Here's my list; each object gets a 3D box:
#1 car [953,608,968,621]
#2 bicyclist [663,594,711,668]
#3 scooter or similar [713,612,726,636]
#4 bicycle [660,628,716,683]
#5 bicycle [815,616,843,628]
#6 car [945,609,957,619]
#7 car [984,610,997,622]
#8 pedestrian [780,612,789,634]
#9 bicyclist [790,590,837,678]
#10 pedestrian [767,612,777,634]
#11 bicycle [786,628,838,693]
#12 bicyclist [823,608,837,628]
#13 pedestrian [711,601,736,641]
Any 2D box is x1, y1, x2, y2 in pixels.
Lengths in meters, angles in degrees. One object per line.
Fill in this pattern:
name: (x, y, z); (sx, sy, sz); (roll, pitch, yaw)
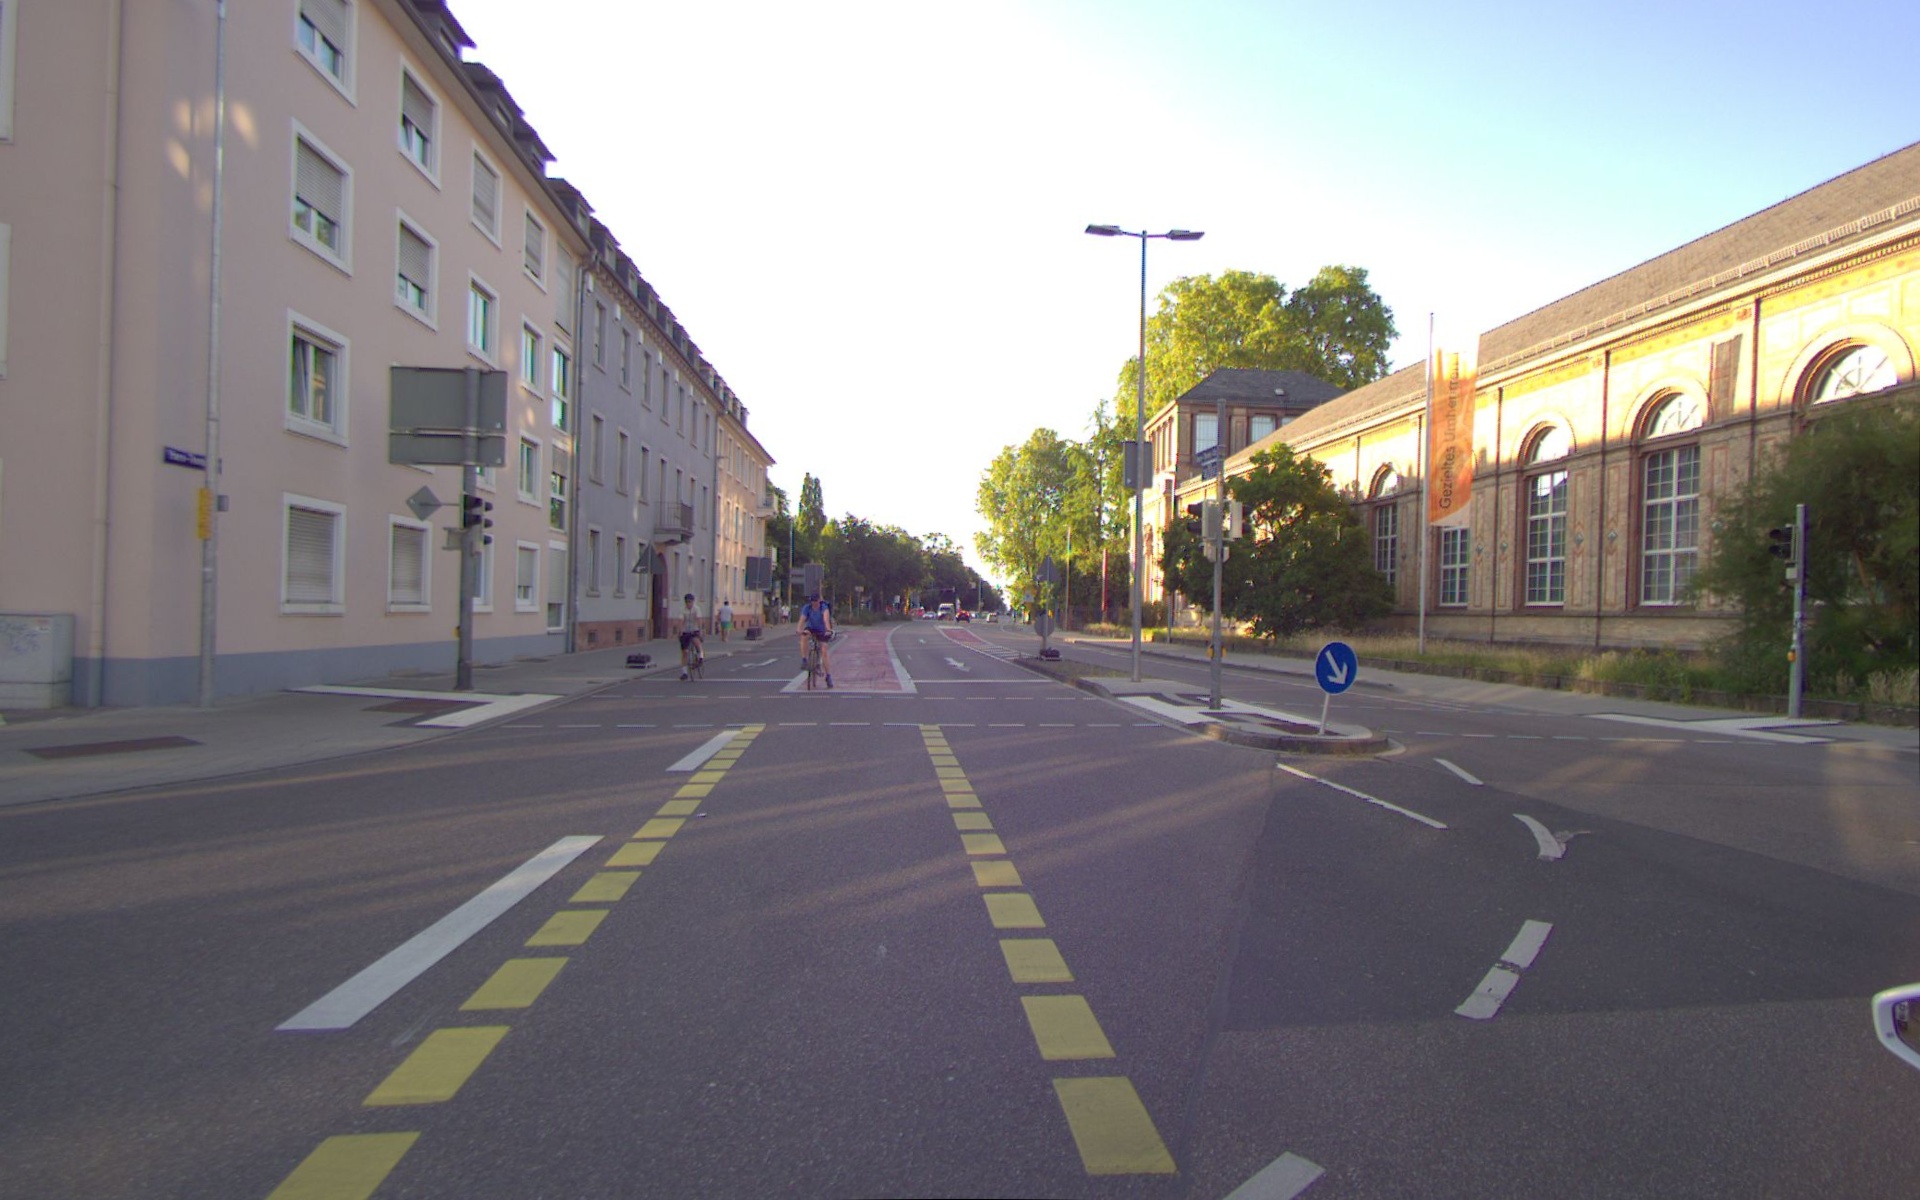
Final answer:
car: (0.033, 2.083, 143.991); (1.961, 1.743, 3.999); (1, -1, -2)
bicyclist: (-5.522, 0.616, 20.358); (0.699, 1.459, 0.894); (1, 0, -2)
scooter or similar: (-11.999, 1.197, 50.116); (0.389, 1.143, 0.861); (1, 0, 1)
bicycle: (-5.541, 1.117, 20.524); (0.709, 1.024, 1.688); (1, -1, -2)
bicycle: (-10.726, 1.782, 82.440); (2.173, 0.941, 0.765); (2, -1, -35)
car: (-1.654, 2.441, 181.165); (1.960, 1.743, 4.000); (1, -1, 0)
car: (4.605, 2.352, 152.218); (1.960, 1.743, 4.001); (1, -1, 2)
pedestrian: (-12.561, 1.651, 71.845); (0.606, 1.595, 0.723); (1, 0, -11)
bicyclist: (-2.707, 0.618, 18.625); (0.699, 1.565, 1.125); (1, 0, -2)
pedestrian: (-13.426, 1.621, 71.730); (0.606, 1.554, 0.689); (1, 0, -11)
bicycle: (-2.722, 1.090, 18.640); (0.709, 1.082, 2.001); (1, -1, -2)
bicyclist: (-10.658, 1.487, 82.495); (0.864, 1.618, 0.746); (2, 0, -35)
pedestrian: (-10.309, 0.915, 43.837); (0.861, 1.674, 0.810); (2, -3, -4)
